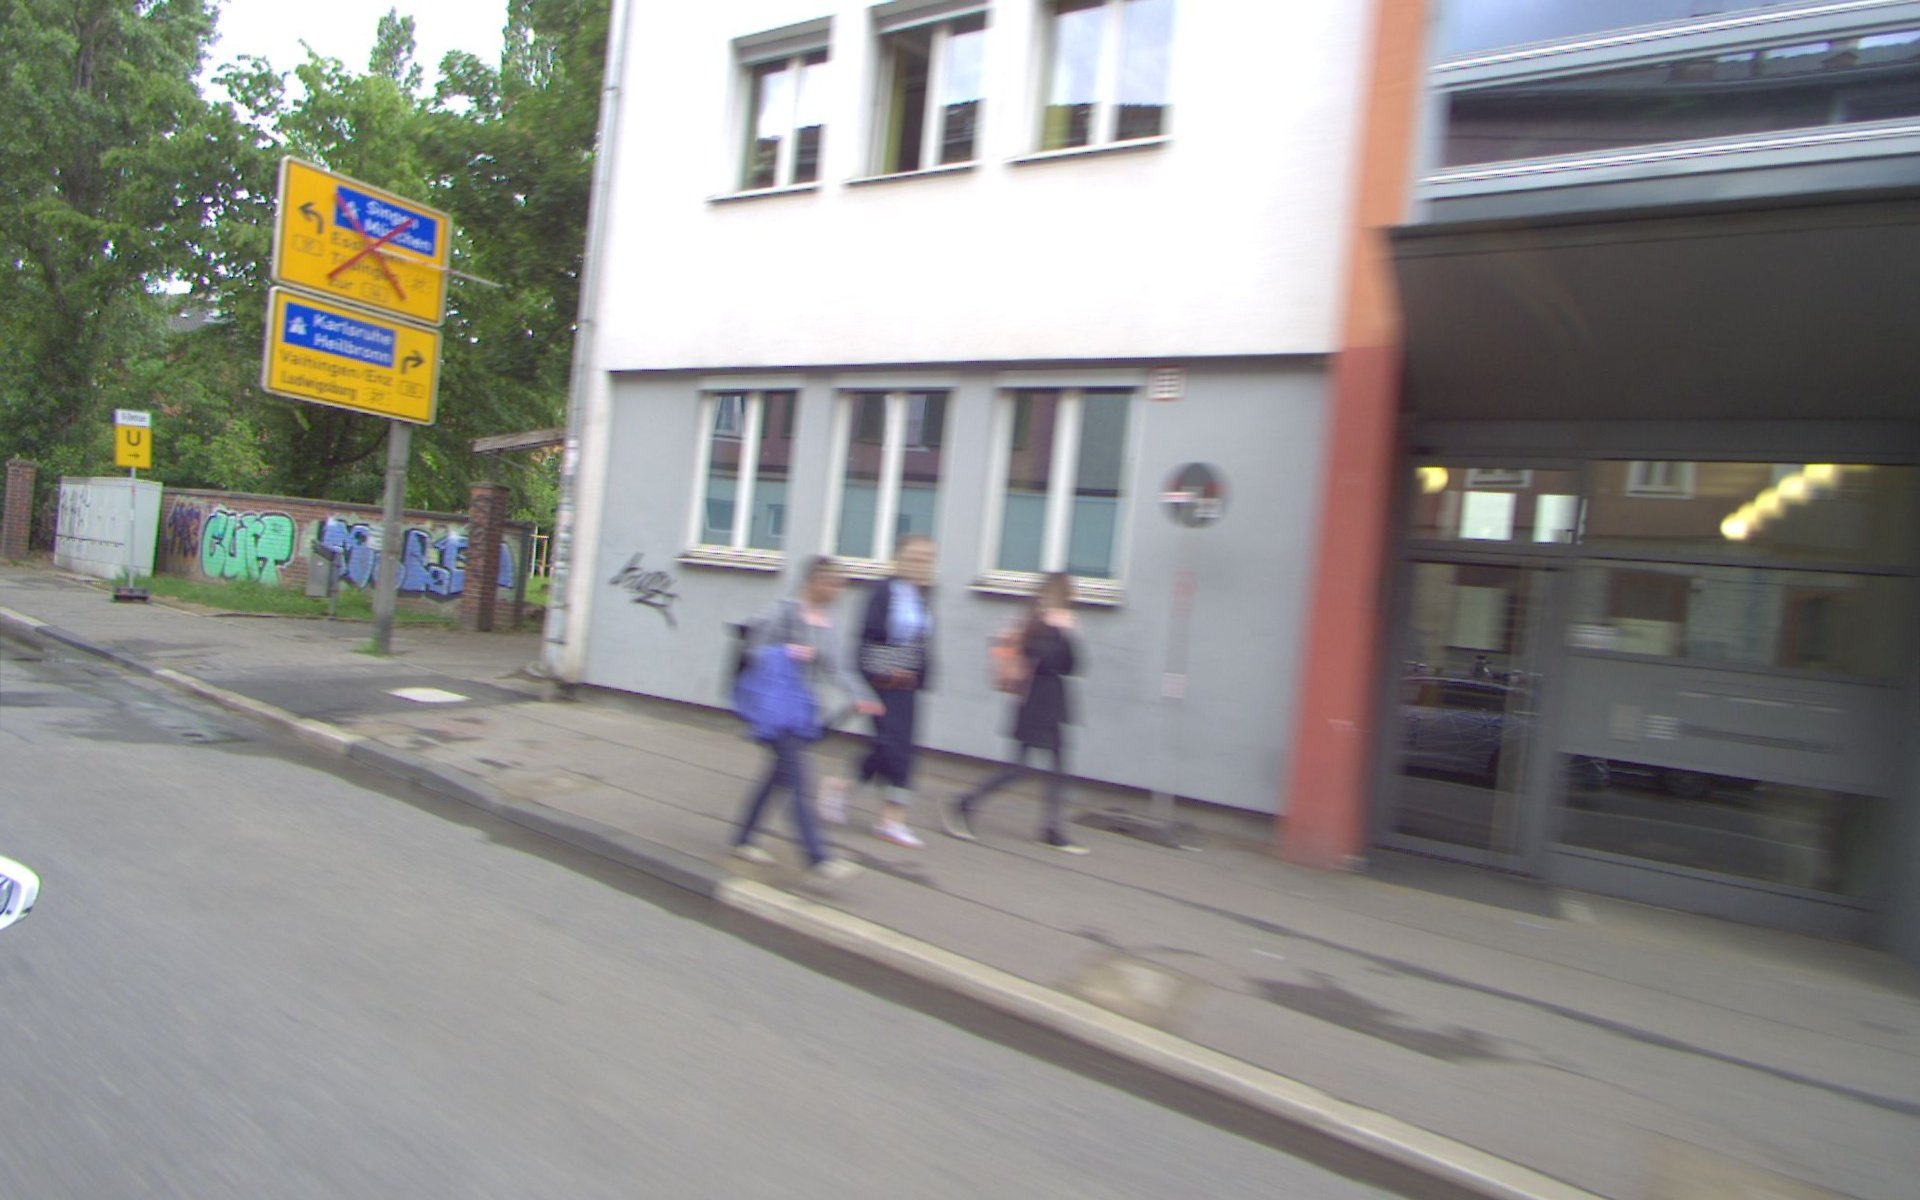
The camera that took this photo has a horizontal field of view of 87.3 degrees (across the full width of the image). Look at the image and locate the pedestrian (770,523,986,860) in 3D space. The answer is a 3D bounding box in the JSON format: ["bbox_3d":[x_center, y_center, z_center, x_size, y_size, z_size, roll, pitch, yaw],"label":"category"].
[{"bbox_3d":[-0.479,0.501,5.970,0.863,1.780,0.687,8,3,29],"label":"pedestrian"}]

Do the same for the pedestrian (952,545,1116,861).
[{"bbox_3d":[0.446,0.601,6.137,0.600,1.780,0.541,9,3,42],"label":"pedestrian"}]

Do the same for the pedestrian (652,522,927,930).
[{"bbox_3d":[-0.867,0.584,5.181,0.926,1.817,0.804,8,2,29],"label":"pedestrian"}]
